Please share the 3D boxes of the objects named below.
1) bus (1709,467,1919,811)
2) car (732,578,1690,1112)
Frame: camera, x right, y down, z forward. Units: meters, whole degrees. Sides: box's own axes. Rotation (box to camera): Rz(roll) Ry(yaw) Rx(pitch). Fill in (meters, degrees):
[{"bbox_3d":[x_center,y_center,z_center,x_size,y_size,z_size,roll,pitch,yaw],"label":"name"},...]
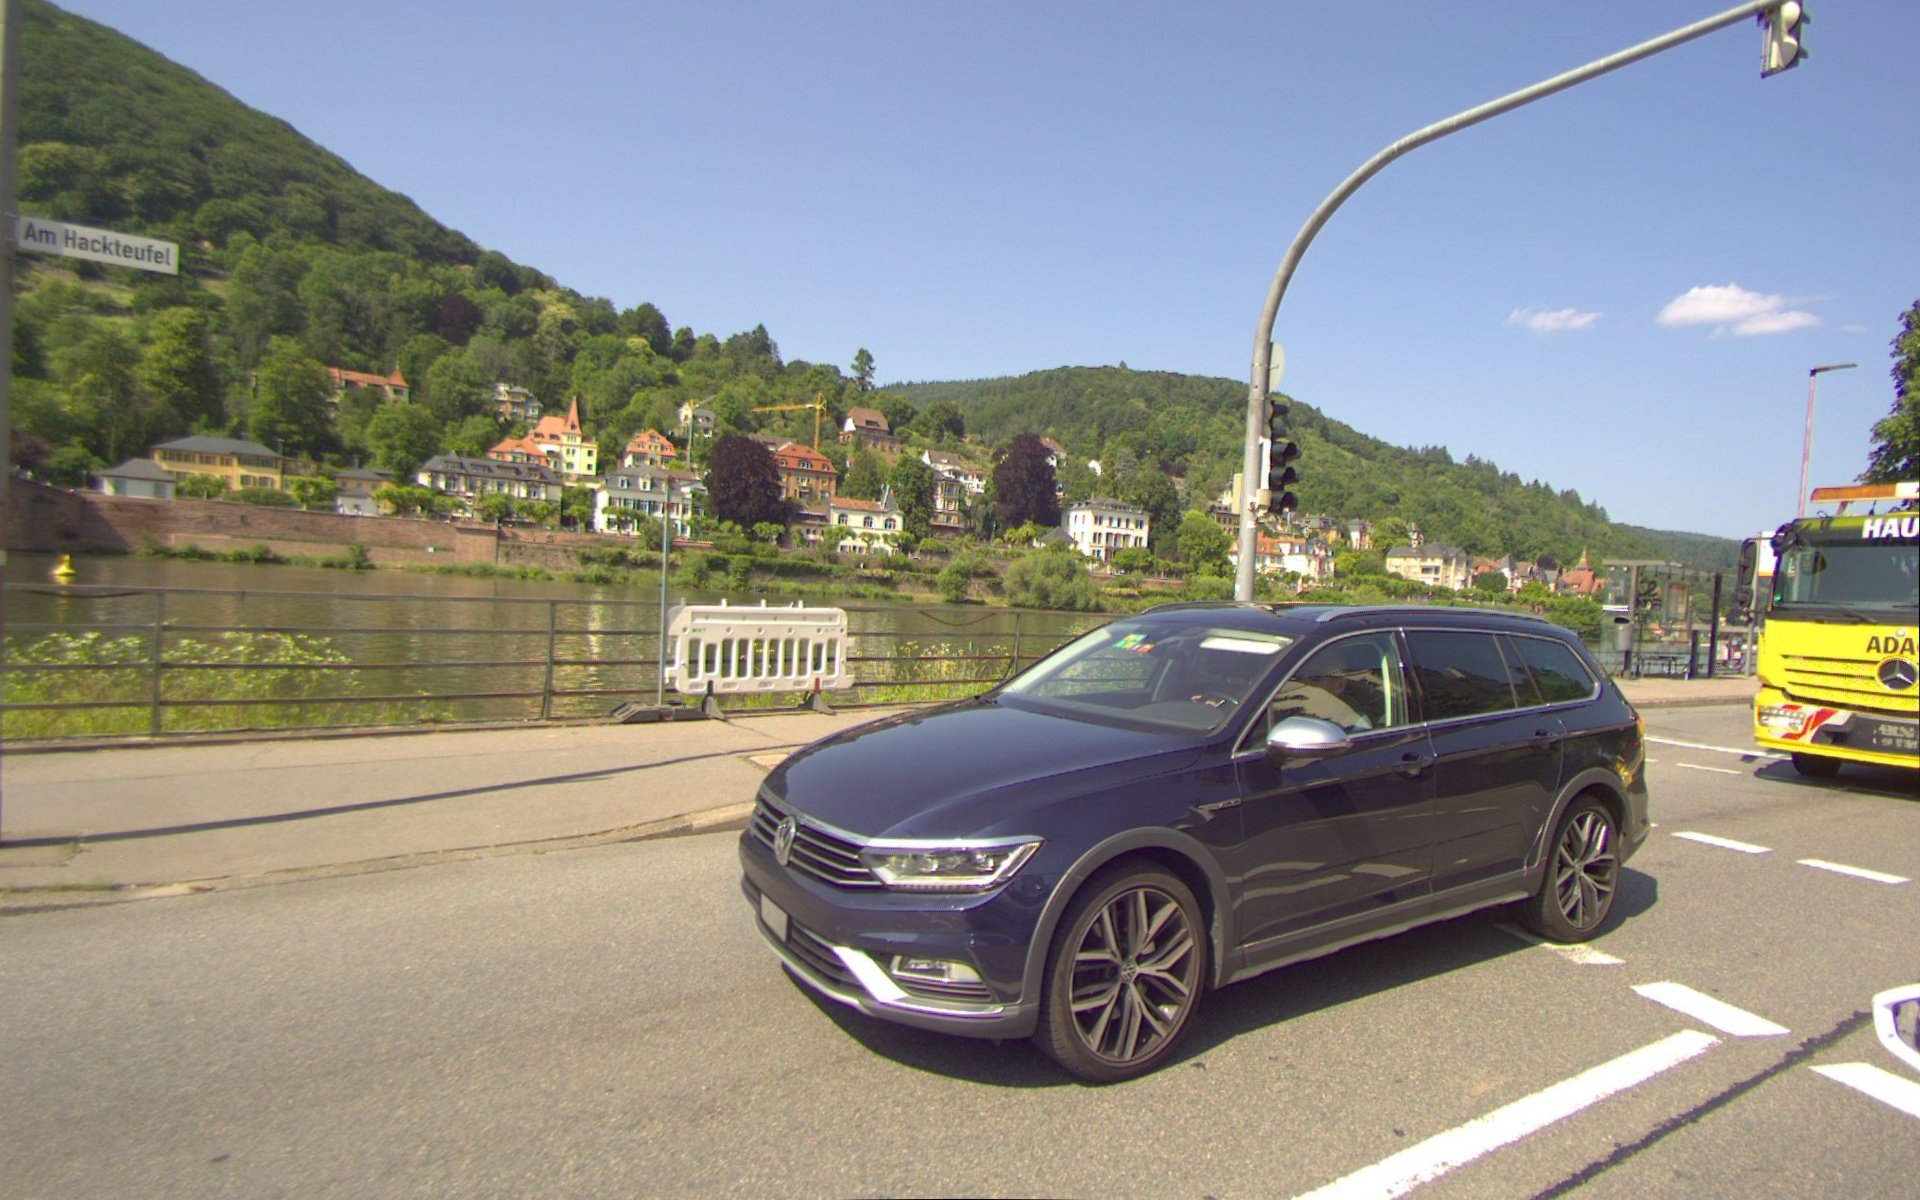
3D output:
[{"bbox_3d":[11.694,0.482,10.893,8.348,2.935,2.584,3,1,-30],"label":"bus"},{"bbox_3d":[1.342,0.708,4.636,4.309,1.425,1.798,2,1,-33],"label":"car"}]
